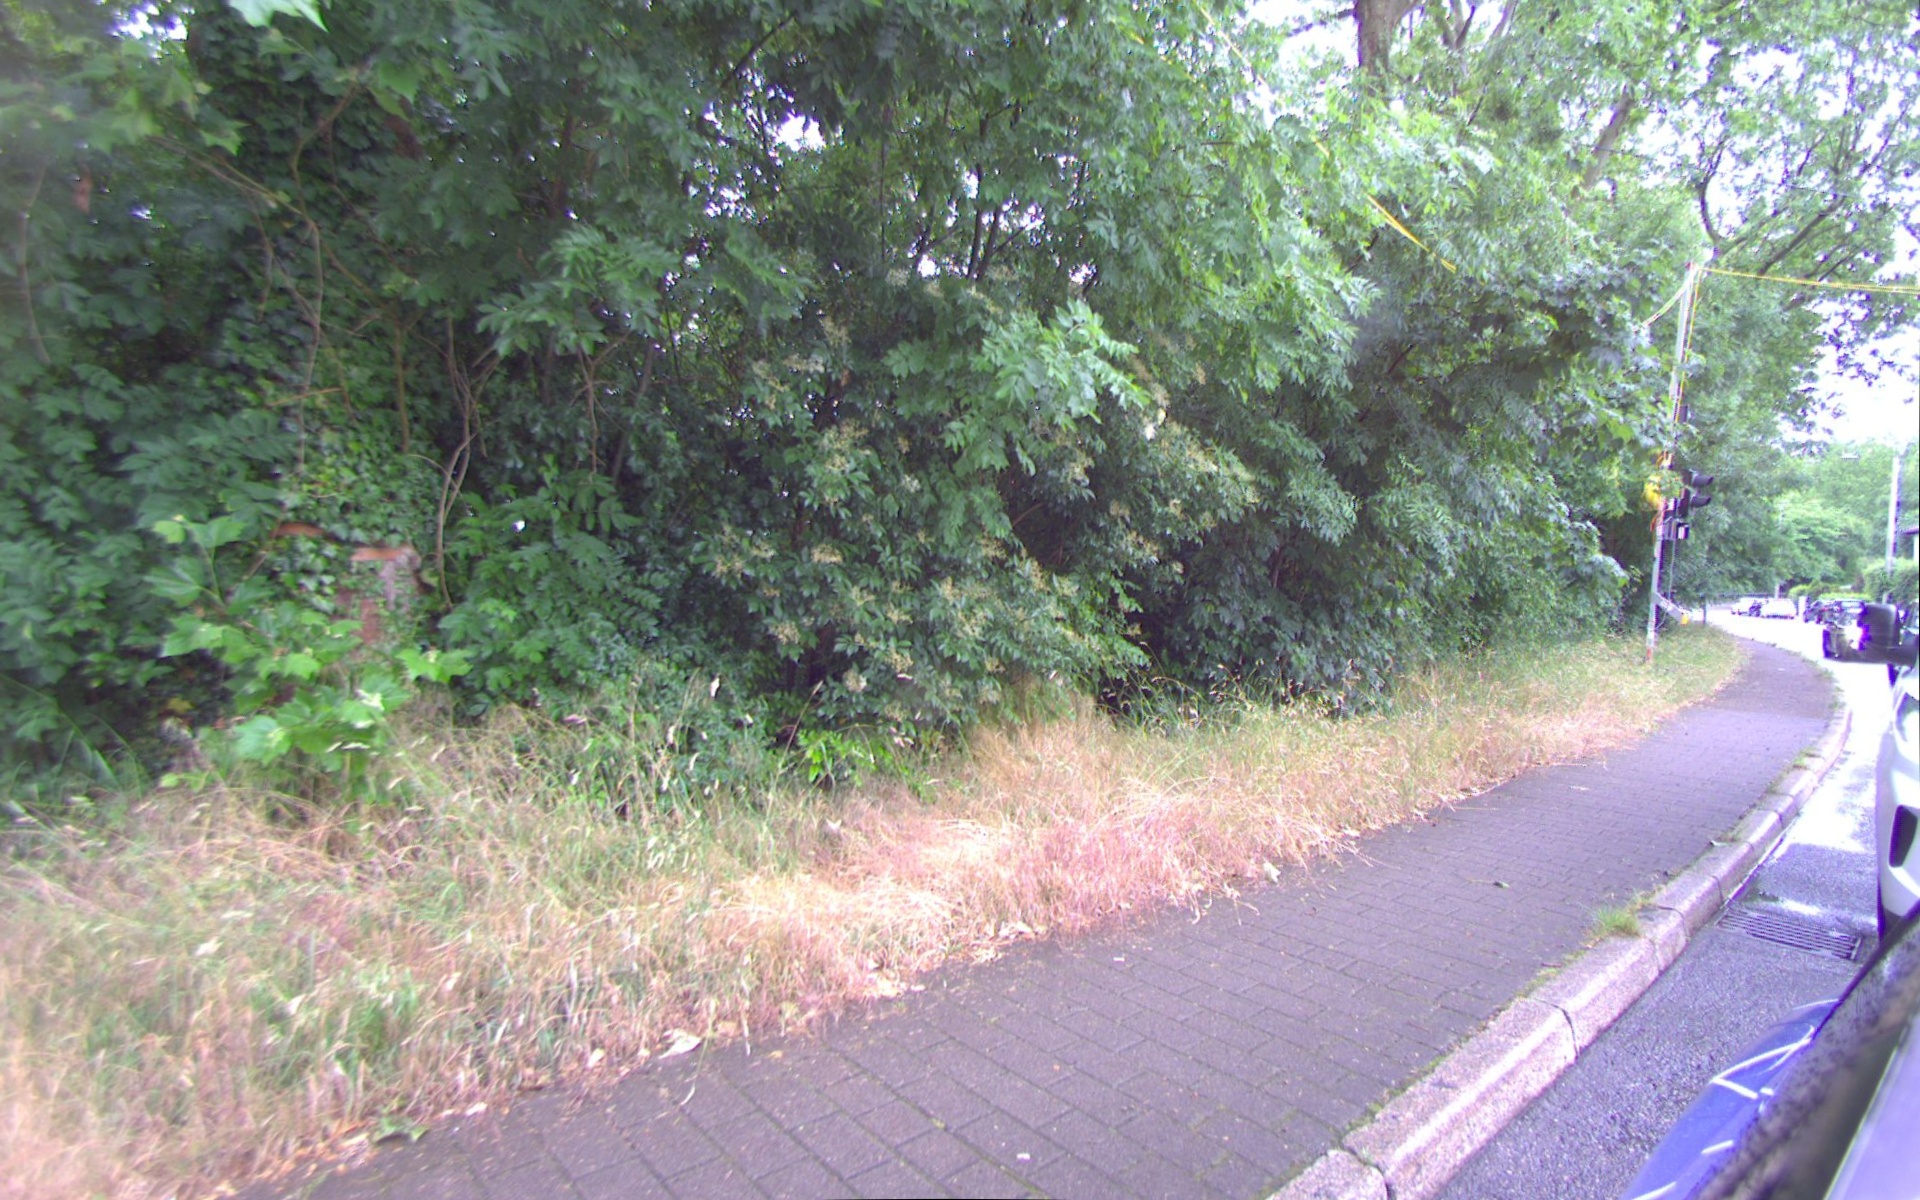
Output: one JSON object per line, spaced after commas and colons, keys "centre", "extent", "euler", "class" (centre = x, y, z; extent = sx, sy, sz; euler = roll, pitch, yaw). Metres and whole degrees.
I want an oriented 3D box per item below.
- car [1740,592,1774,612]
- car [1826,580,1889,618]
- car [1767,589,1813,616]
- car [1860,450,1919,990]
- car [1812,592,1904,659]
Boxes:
{"centre": [64.896, 0.170, 82.485], "extent": [1.752, 1.547, 3.550], "euler": [0, 0, 32], "class": "car"}
{"centre": [51.117, -0.079, 57.715], "extent": [1.984, 2.039, 3.955], "euler": [0, 0, 32], "class": "car"}
{"centre": [60.606, 0.171, 73.935], "extent": [1.984, 1.884, 4.311], "euler": [0, 0, 32], "class": "car"}
{"centre": [5.898, 0.404, 4.613], "extent": [5.118, 1.917, 2.044], "euler": [-1, 0, -41], "class": "car"}
{"centre": [23.279, 0.675, 26.324], "extent": [1.663, 1.610, 3.946], "euler": [0, -2, 40], "class": "car"}
